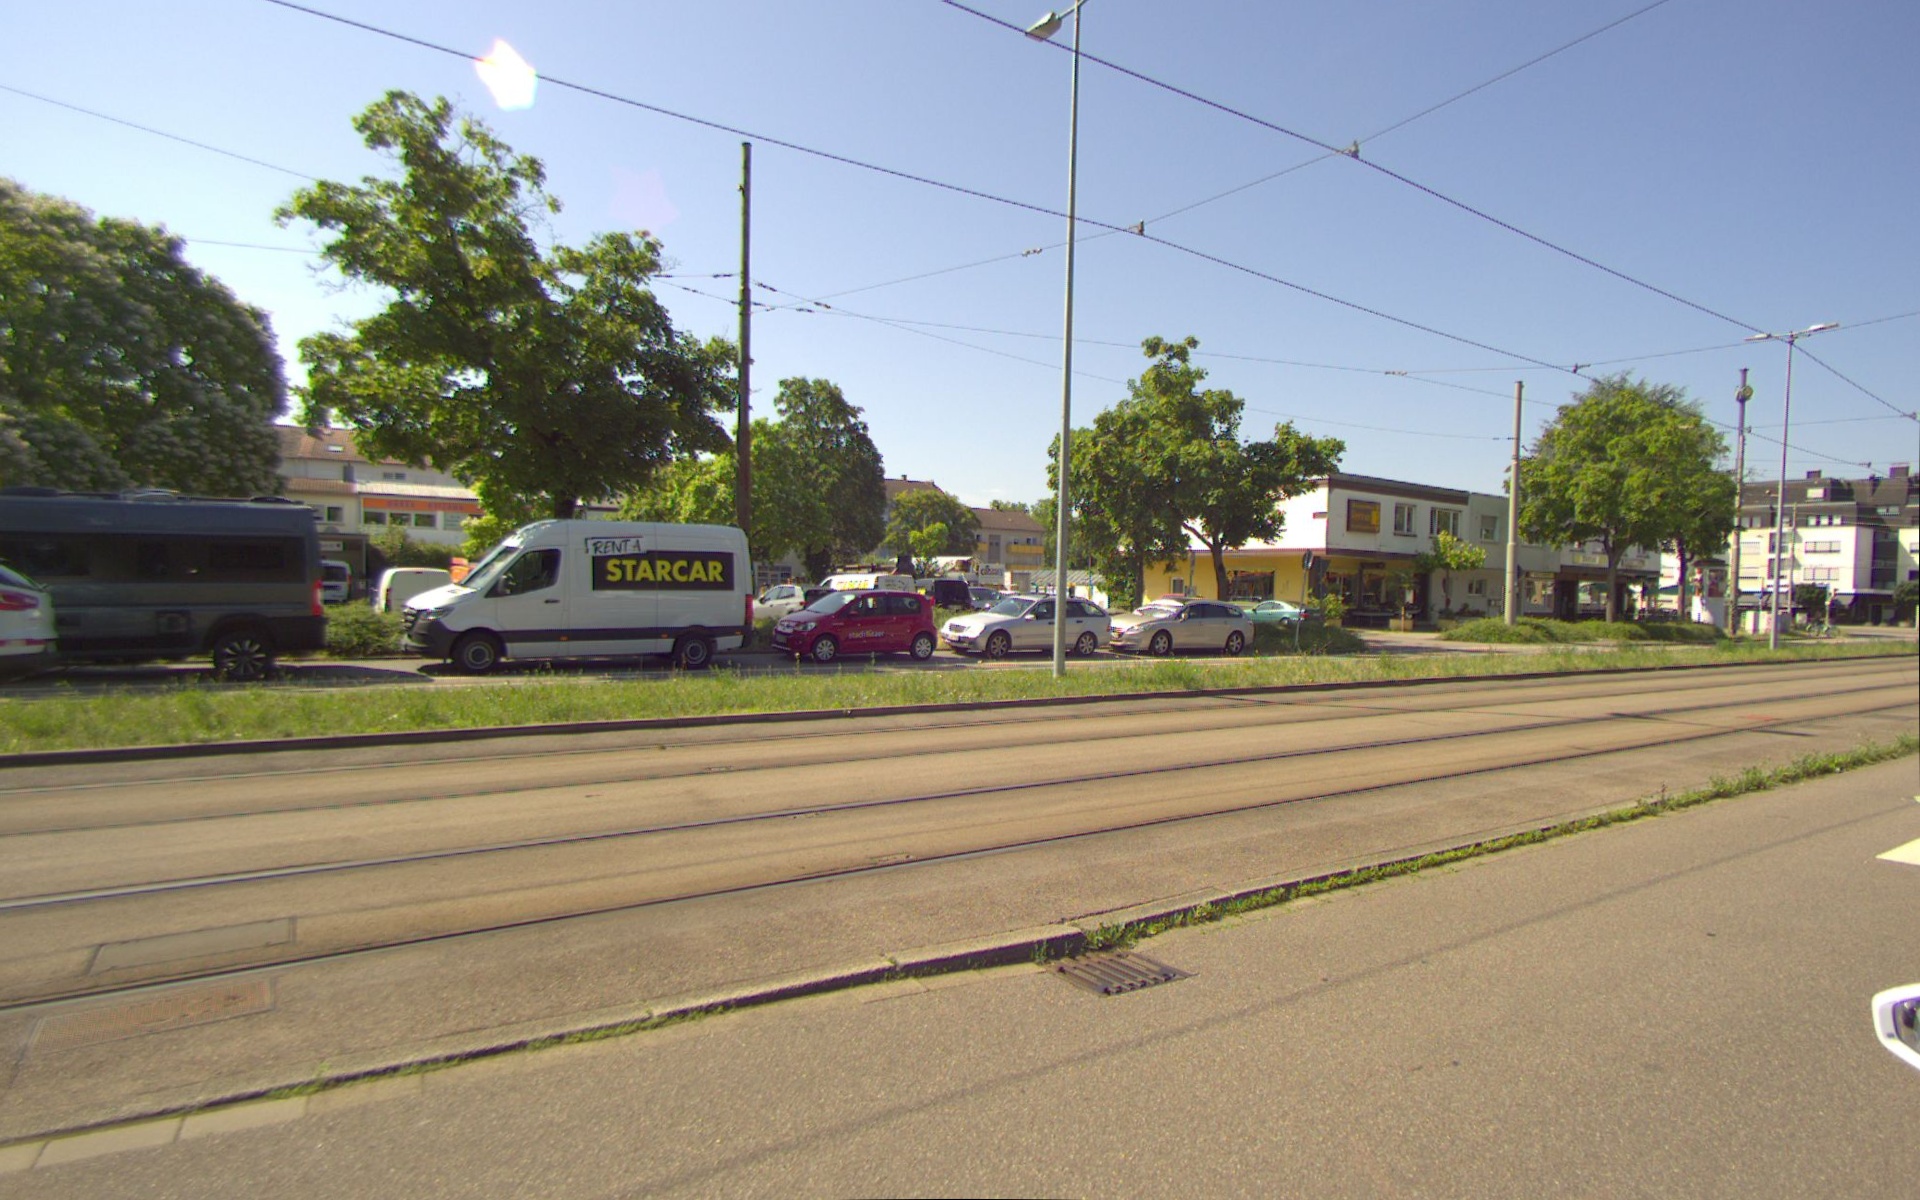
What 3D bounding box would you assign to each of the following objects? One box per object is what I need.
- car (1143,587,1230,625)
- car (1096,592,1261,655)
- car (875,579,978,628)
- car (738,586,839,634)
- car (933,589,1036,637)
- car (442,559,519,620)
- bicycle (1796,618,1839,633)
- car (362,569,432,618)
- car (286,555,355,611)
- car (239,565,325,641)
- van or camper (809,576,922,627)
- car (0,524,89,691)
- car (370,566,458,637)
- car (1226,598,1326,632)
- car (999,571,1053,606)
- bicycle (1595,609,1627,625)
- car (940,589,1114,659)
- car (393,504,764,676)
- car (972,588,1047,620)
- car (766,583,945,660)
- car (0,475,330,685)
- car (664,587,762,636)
[{"bbox_3d":[11.035,0.271,49.177,1.679,1.758,4.122,1,1,-33],"label":"car"},{"bbox_3d":[5.942,0.612,27.130,4.568,1.510,1.594,1,3,-33],"label":"car"},{"bbox_3d":[-1.228,0.096,34.855,1.647,1.584,3.959,1,0,-36],"label":"car"},{"bbox_3d":[-5.479,0.288,31.787,1.476,1.389,3.956,1,0,-38],"label":"car"},{"bbox_3d":[0.820,0.435,36.140,1.647,1.584,3.959,1,0,-36],"label":"car"},{"bbox_3d":[-18.431,-0.413,38.542,1.893,2.229,3.957,0,1,-37],"label":"car"},{"bbox_3d":[56.081,1.684,65.722,2.133,0.934,0.554,1,0,9],"label":"bicycle"},{"bbox_3d":[-20.768,-0.253,36.990,1.730,1.675,3.957,0,1,-37],"label":"car"},{"bbox_3d":[-24.446,-0.645,38.358,1.893,2.030,3.957,0,1,-37],"label":"car"},{"bbox_3d":[-16.812,0.050,24.933,1.646,1.717,3.961,1,0,-34],"label":"car"},{"bbox_3d":[-3.190,0.029,33.351,1.861,1.584,3.954,1,0,-39],"label":"van or camper"},{"bbox_3d":[-11.433,0.062,9.474,4.611,1.618,2.031,1,-1,-34],"label":"car"},{"bbox_3d":[-14.519,0.019,26.601,1.646,1.717,3.961,1,0,-34],"label":"car"},{"bbox_3d":[13.947,0.631,44.553,1.679,1.363,4.122,1,1,-33],"label":"car"},{"bbox_3d":[4.559,-0.787,69.533,3.378,2.306,1.474,1,1,-25],"label":"car"},{"bbox_3d":[39.189,1.012,60.468,2.366,0.900,0.778,1,1,-34],"label":"bicycle"},{"bbox_3d":[1.681,0.551,24.202,4.307,1.510,1.283,1,3,-35],"label":"car"},{"bbox_3d":[-6.773,-0.180,18.162,5.918,2.666,2.181,1,3,-35],"label":"car"},{"bbox_3d":[2.577,0.194,52.770,1.892,1.554,3.960,0,1,-35],"label":"car"},{"bbox_3d":[-2.179,0.441,21.351,3.642,1.510,1.282,1,1,-37],"label":"car"},{"bbox_3d":[-12.464,-0.302,14.145,6.017,2.705,2.181,1,3,-35],"label":"car"},{"bbox_3d":[-7.704,0.328,31.075,1.475,1.389,3.957,1,0,-37],"label":"car"}]
